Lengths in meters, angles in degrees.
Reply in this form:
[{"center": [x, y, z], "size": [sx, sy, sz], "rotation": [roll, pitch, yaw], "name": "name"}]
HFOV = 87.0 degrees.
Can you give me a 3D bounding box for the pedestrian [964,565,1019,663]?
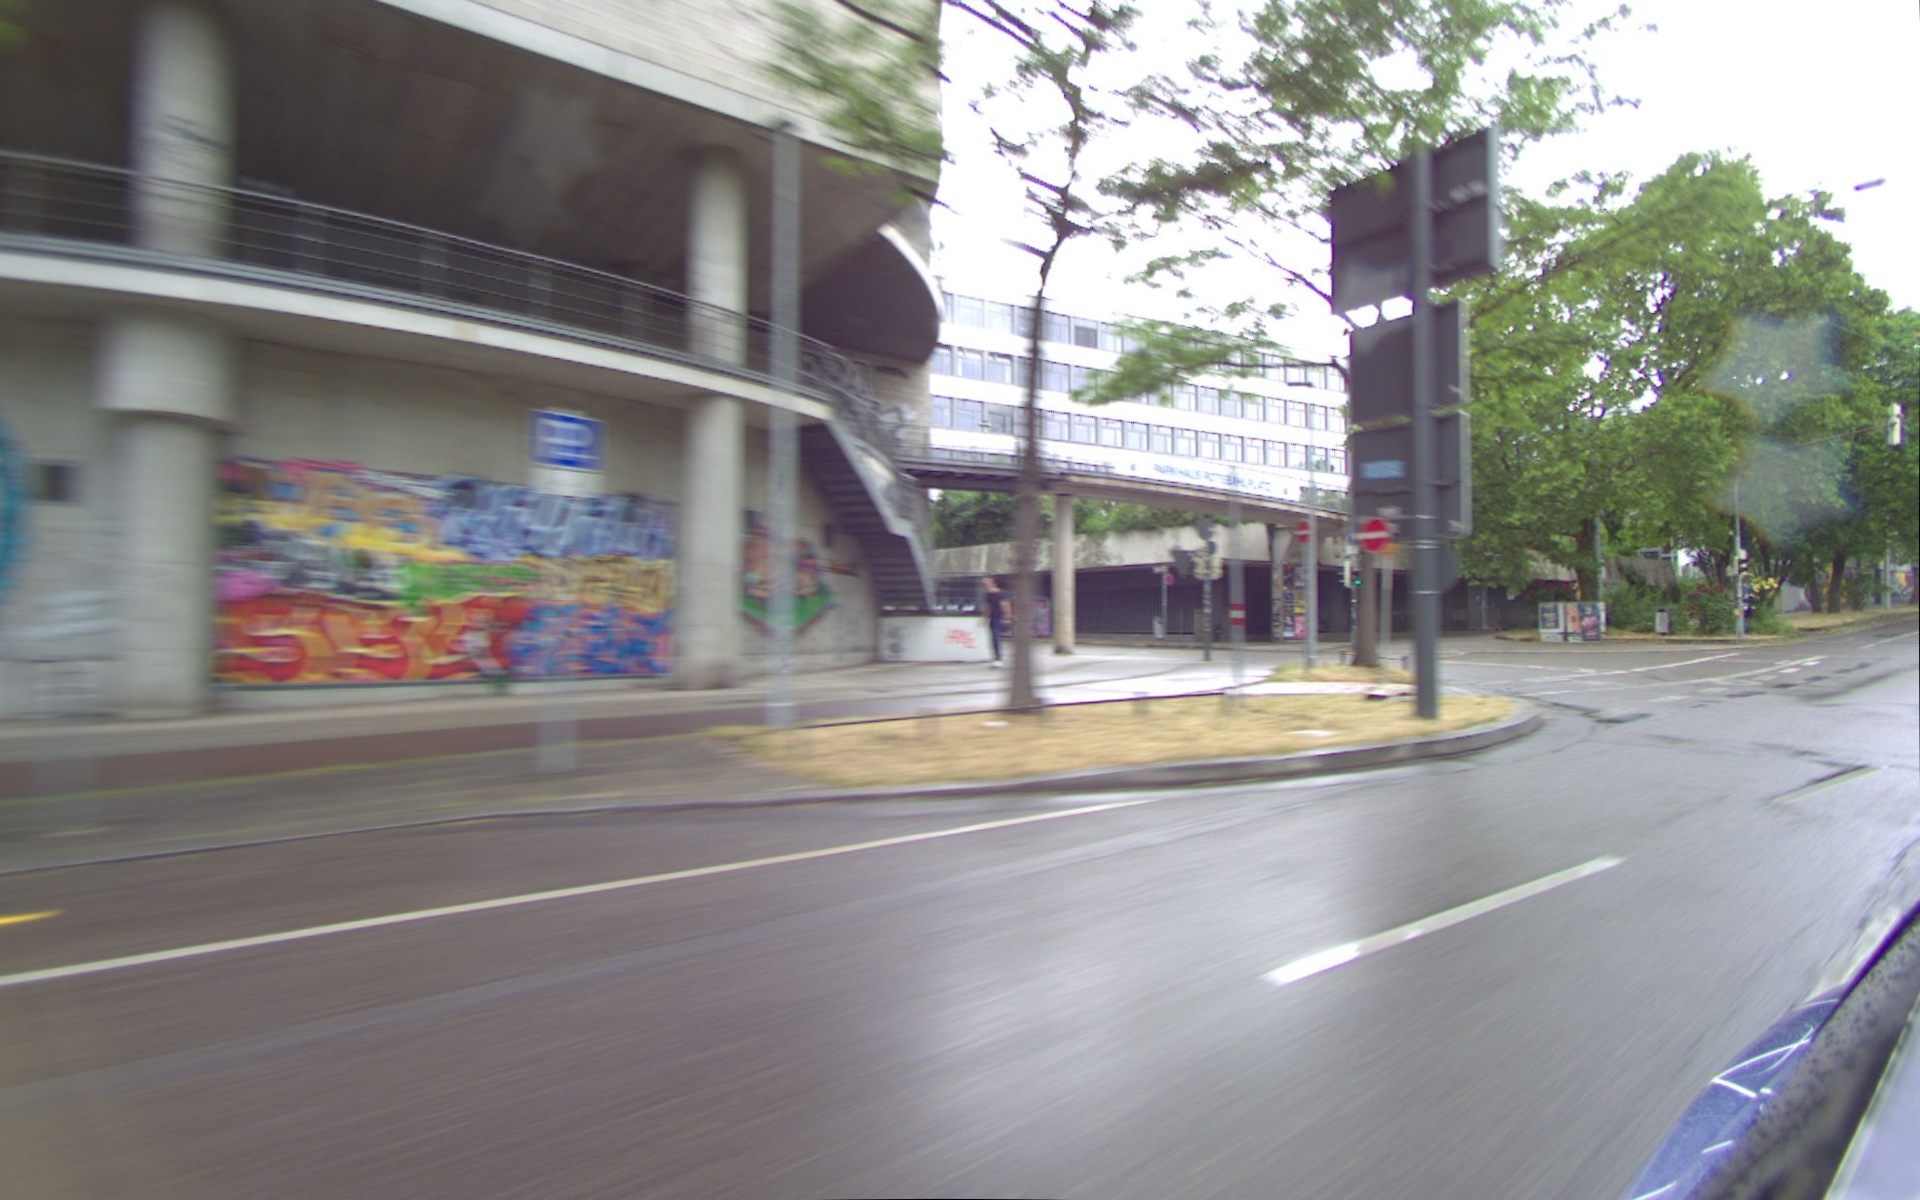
[{"center": [0.663, 0.291, 21.453], "size": [0.745, 2.039, 0.870], "rotation": [0, -1, -40], "name": "pedestrian"}]
